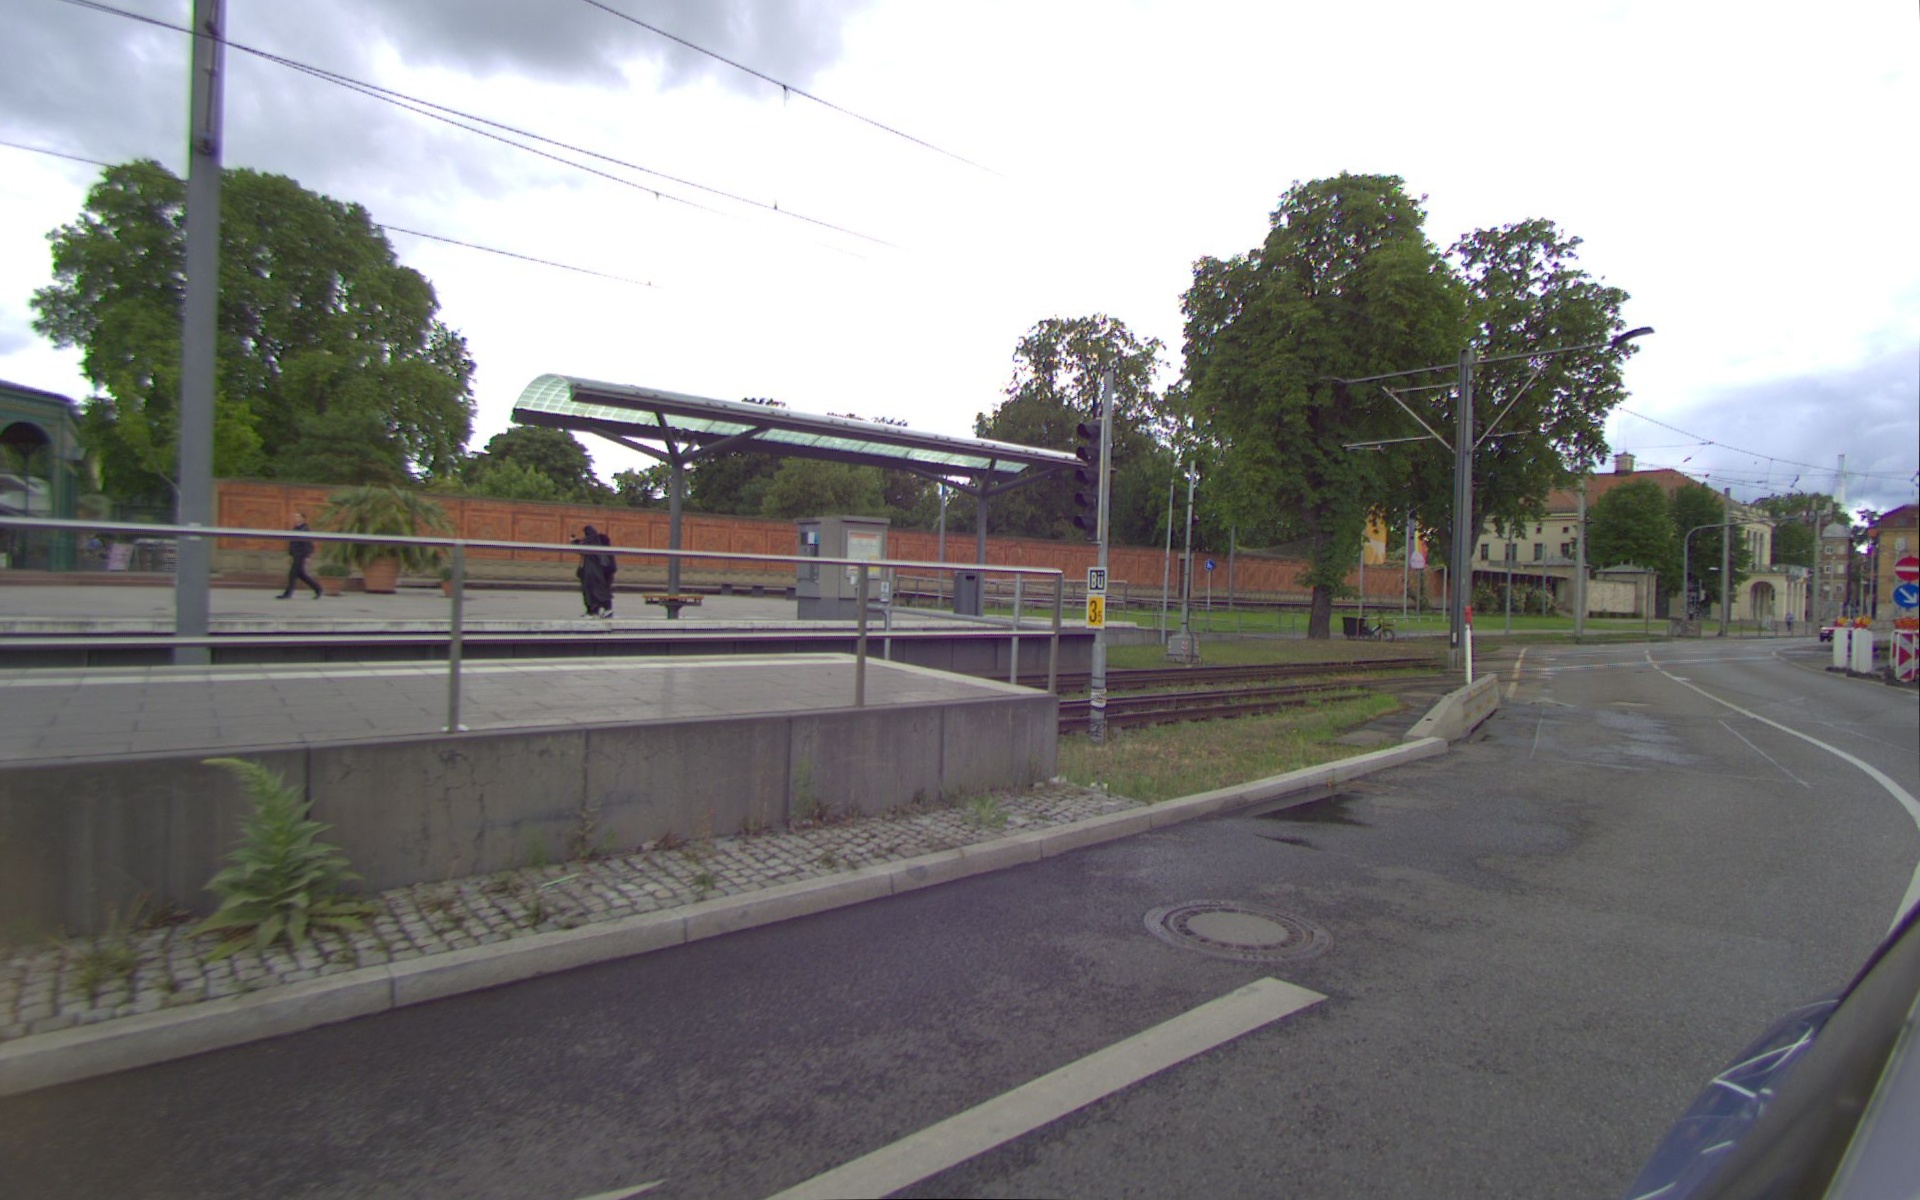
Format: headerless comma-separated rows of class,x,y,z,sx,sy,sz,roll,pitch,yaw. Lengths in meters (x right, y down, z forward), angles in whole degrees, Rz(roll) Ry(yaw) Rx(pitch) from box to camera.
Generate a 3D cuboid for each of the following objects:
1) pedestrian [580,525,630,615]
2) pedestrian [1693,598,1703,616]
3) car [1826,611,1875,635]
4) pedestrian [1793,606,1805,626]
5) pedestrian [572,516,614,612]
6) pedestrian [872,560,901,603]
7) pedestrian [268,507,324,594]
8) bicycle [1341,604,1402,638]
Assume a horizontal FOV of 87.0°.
pedestrian,-6.579,-0.543,18.738,0.756,1.621,0.743,1,-1,-30
pedestrian,73.481,0.676,100.728,0.794,1.815,0.596,1,1,-39
car,54.775,1.401,62.223,4.046,1.460,1.680,1,-1,-40
pedestrian,76.674,1.482,92.500,0.920,1.790,0.672,1,1,-39
pedestrian,-6.543,-0.628,18.029,0.615,1.682,0.488,1,-1,-30
pedestrian,-2.162,-0.532,29.704,0.548,1.216,0.658,-1,-2,45
pedestrian,-14.533,-1.064,22.157,0.548,1.861,0.937,-1,-2,45
bicycle,15.264,0.753,37.596,0.726,1.172,1.999,1,1,-34
